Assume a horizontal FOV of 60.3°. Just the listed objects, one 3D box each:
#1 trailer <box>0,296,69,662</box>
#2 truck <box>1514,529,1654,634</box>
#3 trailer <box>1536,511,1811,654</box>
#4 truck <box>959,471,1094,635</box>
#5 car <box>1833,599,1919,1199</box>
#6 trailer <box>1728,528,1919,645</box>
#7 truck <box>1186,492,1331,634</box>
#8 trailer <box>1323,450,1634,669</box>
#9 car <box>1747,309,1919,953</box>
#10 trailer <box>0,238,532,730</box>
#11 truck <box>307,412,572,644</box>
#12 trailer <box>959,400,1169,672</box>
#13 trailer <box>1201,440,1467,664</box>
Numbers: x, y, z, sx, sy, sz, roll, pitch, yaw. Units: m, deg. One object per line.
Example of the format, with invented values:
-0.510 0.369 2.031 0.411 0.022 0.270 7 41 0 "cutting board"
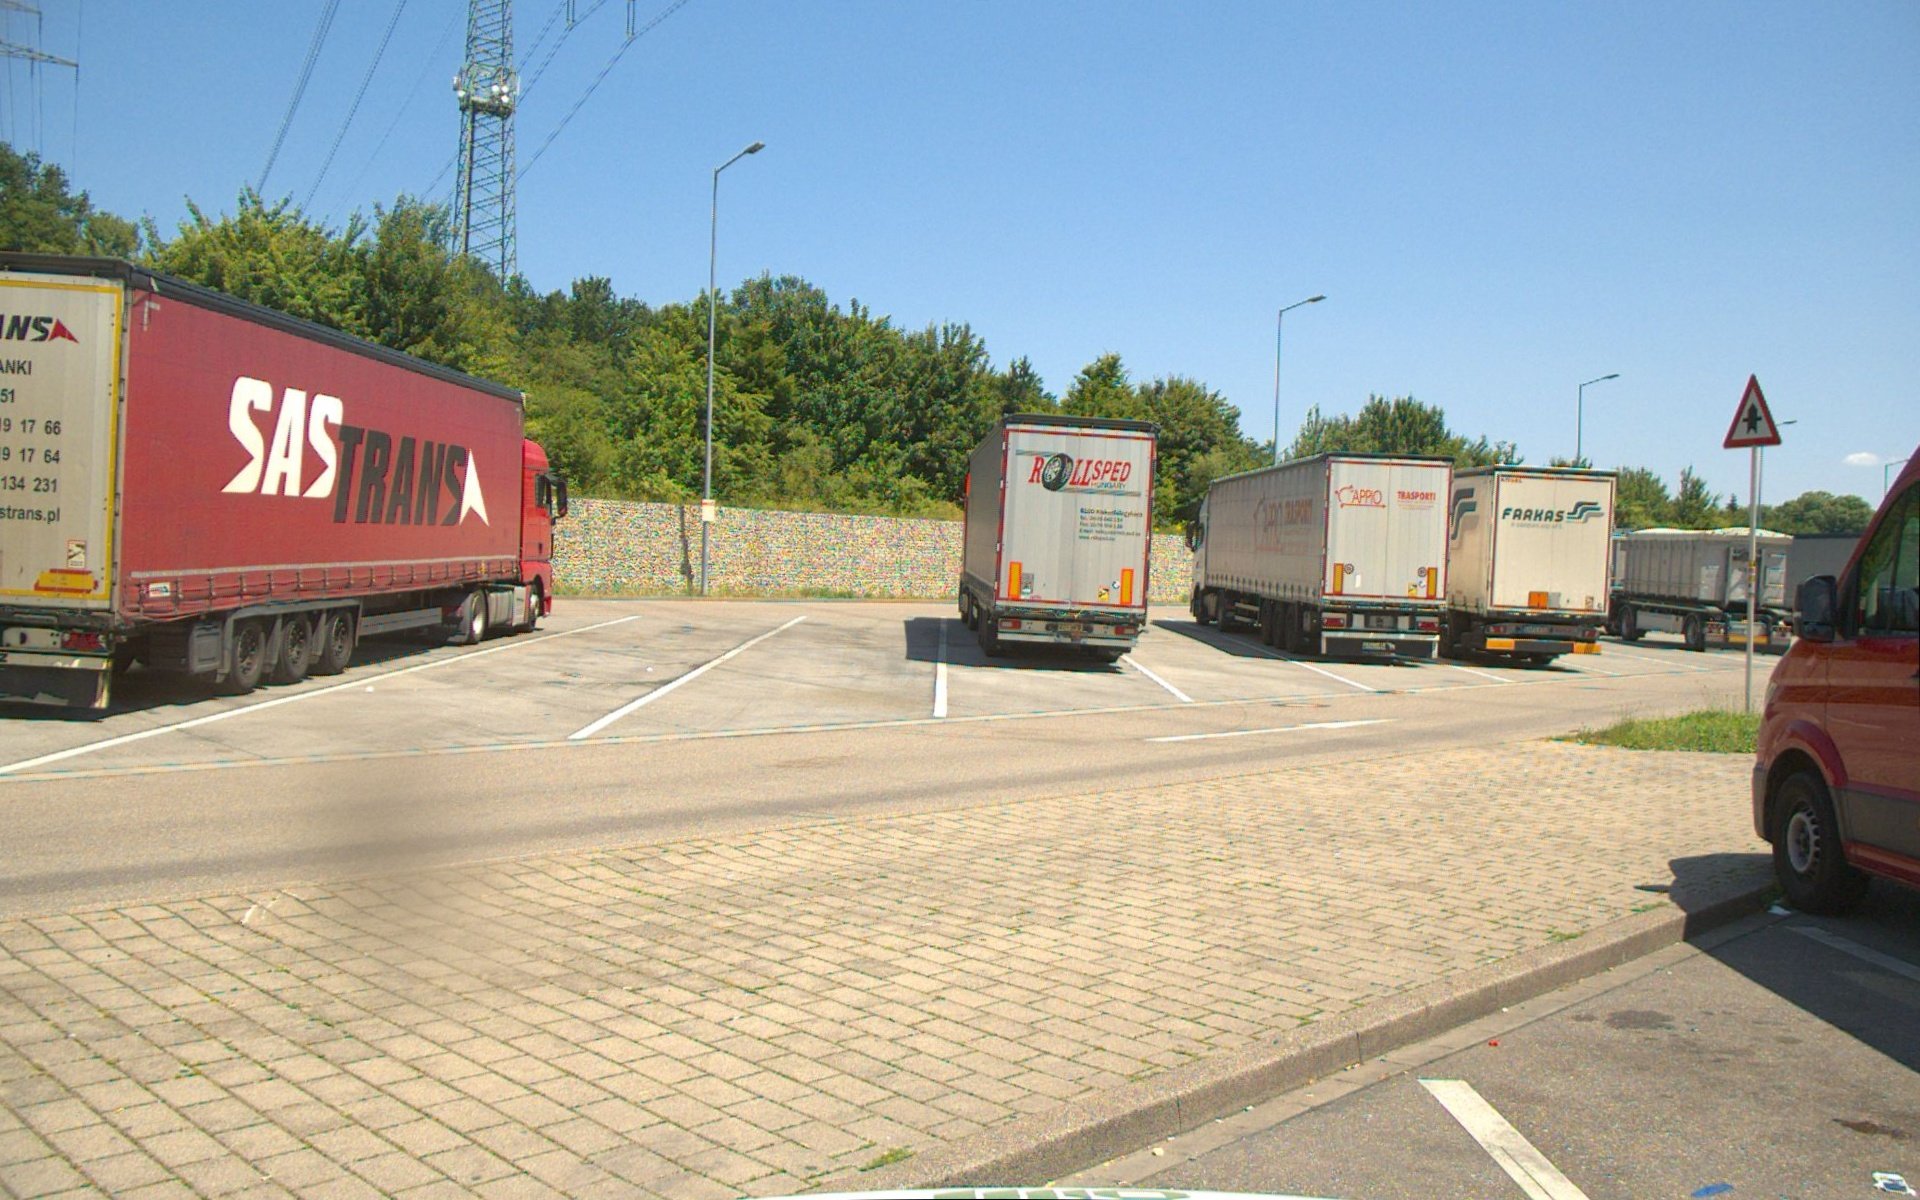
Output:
-12.522 -1.309 15.692 2.673 4.282 10.170 2 2 -1 "trailer"
22.024 -0.710 58.689 2.794 3.423 5.484 3 2 0 "truck"
21.941 -0.679 52.185 2.780 3.781 13.726 3 2 1 "trailer"
1.492 -1.142 39.832 2.794 3.544 5.482 2 2 -1 "truck"
2.597 0.802 1.139 1.703 1.508 3.813 1 1 -6 "car"
34.958 -0.636 65.385 2.780 4.119 13.726 3 2 1 "trailer"
8.108 -1.036 45.619 2.794 3.544 5.482 2 2 -1 "truck"
11.780 -1.014 39.613 2.781 4.204 13.722 2 2 -1 "trailer"
5.009 0.169 5.543 2.023 2.742 6.397 1 1 4 "car"
-8.675 -1.297 21.173 2.848 4.203 13.723 2 2 -1 "trailer"
-8.786 -1.207 28.609 2.794 3.487 5.482 2 2 -1 "truck"
1.658 -1.229 33.223 2.848 4.204 13.720 2 2 -1 "trailer"
8.220 -1.135 38.810 2.781 4.204 13.722 2 2 -1 "trailer"
